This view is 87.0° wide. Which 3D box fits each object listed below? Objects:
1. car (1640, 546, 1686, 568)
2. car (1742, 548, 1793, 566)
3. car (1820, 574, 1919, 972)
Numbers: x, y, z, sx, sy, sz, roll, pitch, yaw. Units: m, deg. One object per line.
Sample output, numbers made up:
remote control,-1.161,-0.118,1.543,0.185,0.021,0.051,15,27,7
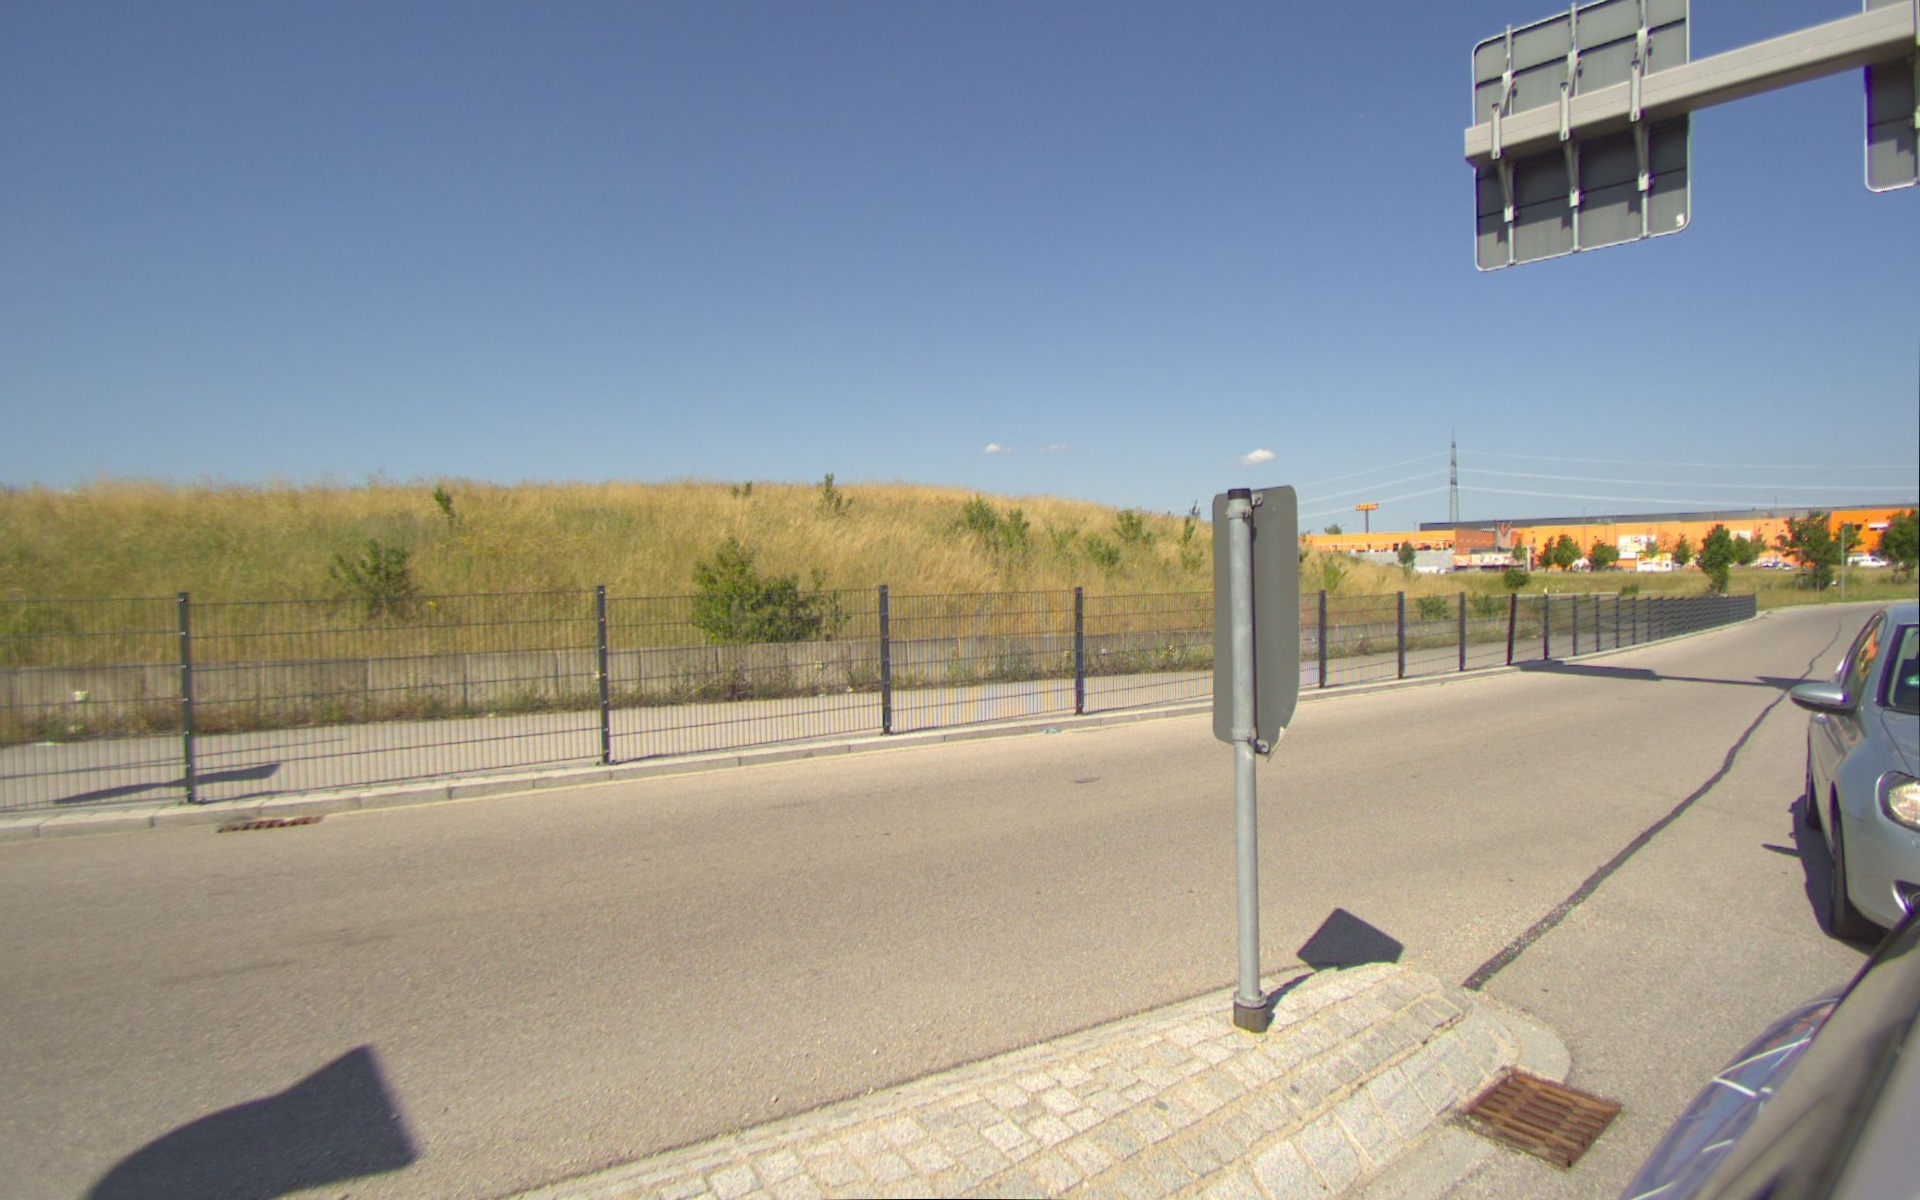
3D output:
car,87.886,-5.389,126.539,4.611,2.580,1.973,-1,1,38
car,95.608,-5.062,119.866,4.611,2.039,1.973,-1,1,38
car,5.322,0.643,4.880,1.740,1.486,3.902,3,3,41
